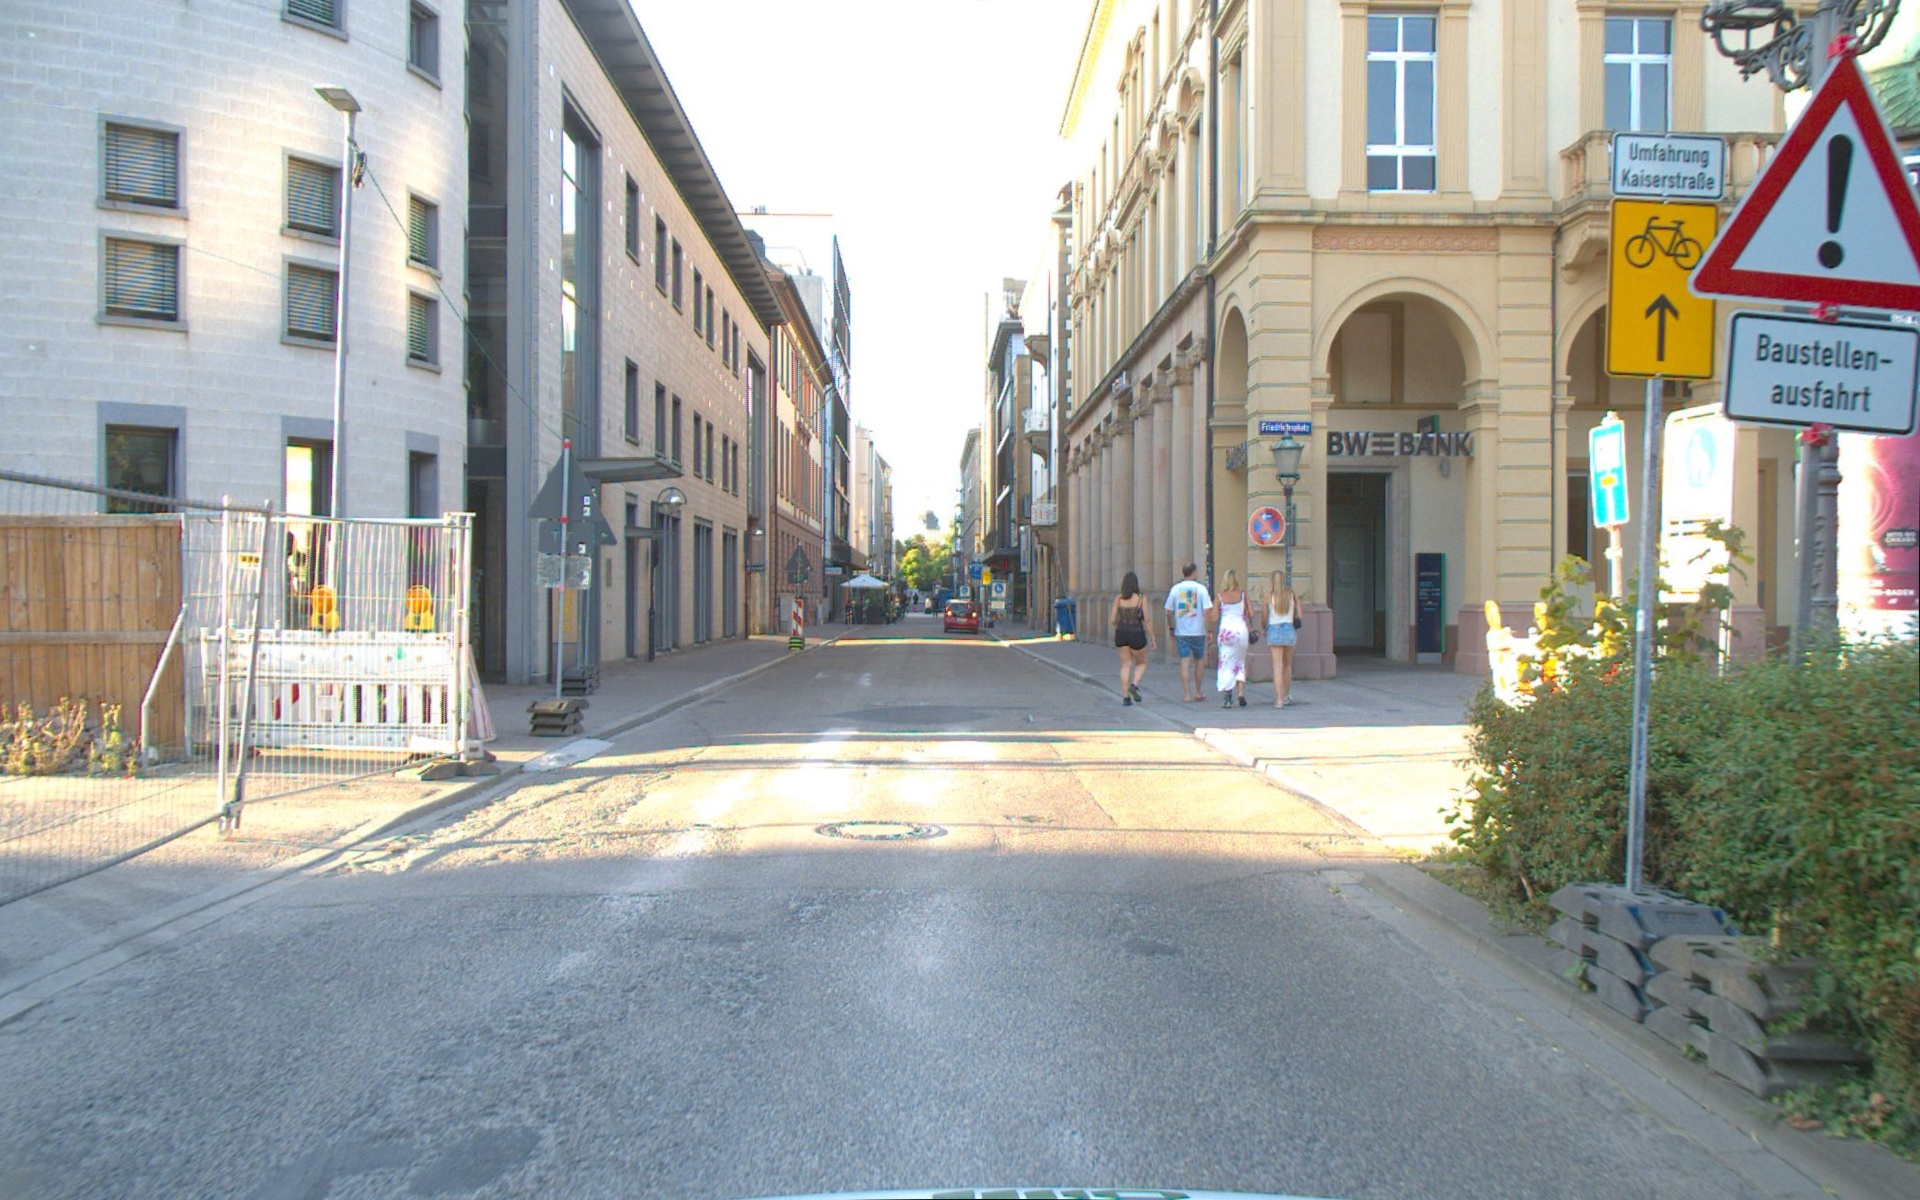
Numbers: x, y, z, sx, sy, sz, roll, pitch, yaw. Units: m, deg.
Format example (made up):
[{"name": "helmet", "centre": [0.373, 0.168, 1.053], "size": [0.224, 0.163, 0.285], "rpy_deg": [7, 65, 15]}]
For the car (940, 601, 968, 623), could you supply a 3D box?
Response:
[{"name": "car", "centre": [-0.480, 0.902, 126.117], "size": [1.954, 1.639, 3.998], "rpy_deg": [0, 0, -3]}]

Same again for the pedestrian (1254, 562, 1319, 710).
[{"name": "pedestrian", "centre": [4.110, 0.447, 20.866], "size": [0.623, 1.835, 0.771], "rpy_deg": [0, 0, -2]}]

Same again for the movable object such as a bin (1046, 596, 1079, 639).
[{"name": "movable object such as a bin", "centre": [3.460, 0.580, 55.980], "size": [0.970, 1.416, 1.240], "rpy_deg": [-1, 0, -2]}]

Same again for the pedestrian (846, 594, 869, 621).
[{"name": "pedestrian", "centre": [-5.699, 0.403, 92.367], "size": [1.265, 1.514, 0.661], "rpy_deg": [0, 0, -4]}]

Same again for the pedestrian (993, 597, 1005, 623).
[{"name": "pedestrian", "centre": [2.254, 0.562, 95.424], "size": [0.643, 1.514, 0.493], "rpy_deg": [0, 0, 1]}]

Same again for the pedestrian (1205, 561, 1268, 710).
[{"name": "pedestrian", "centre": [3.472, 0.443, 20.814], "size": [0.623, 1.835, 0.771], "rpy_deg": [0, 0, -2]}]

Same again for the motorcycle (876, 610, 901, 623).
[{"name": "motorcycle", "centre": [-5.053, 1.171, 116.535], "size": [1.766, 0.891, 0.560], "rpy_deg": [0, 0, -6]}]

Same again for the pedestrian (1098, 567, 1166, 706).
[{"name": "pedestrian", "centre": [2.254, 0.472, 21.765], "size": [0.760, 1.777, 0.874], "rpy_deg": [0, 0, -2]}]

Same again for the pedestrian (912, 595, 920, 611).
[{"name": "pedestrian", "centre": [-4.653, 0.345, 174.413], "size": [0.788, 1.702, 0.888], "rpy_deg": [0, 0, 1]}]

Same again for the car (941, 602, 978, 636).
[{"name": "car", "centre": [-0.037, 0.854, 76.801], "size": [1.616, 1.452, 3.535], "rpy_deg": [3, 0, -1]}]

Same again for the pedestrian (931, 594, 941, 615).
[{"name": "pedestrian", "centre": [-1.928, 0.367, 133.117], "size": [0.848, 1.743, 0.852], "rpy_deg": [0, 0, -2]}]

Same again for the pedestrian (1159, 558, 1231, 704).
[{"name": "pedestrian", "centre": [3.131, 0.404, 22.124], "size": [0.795, 1.908, 0.874], "rpy_deg": [0, 0, -2]}]
